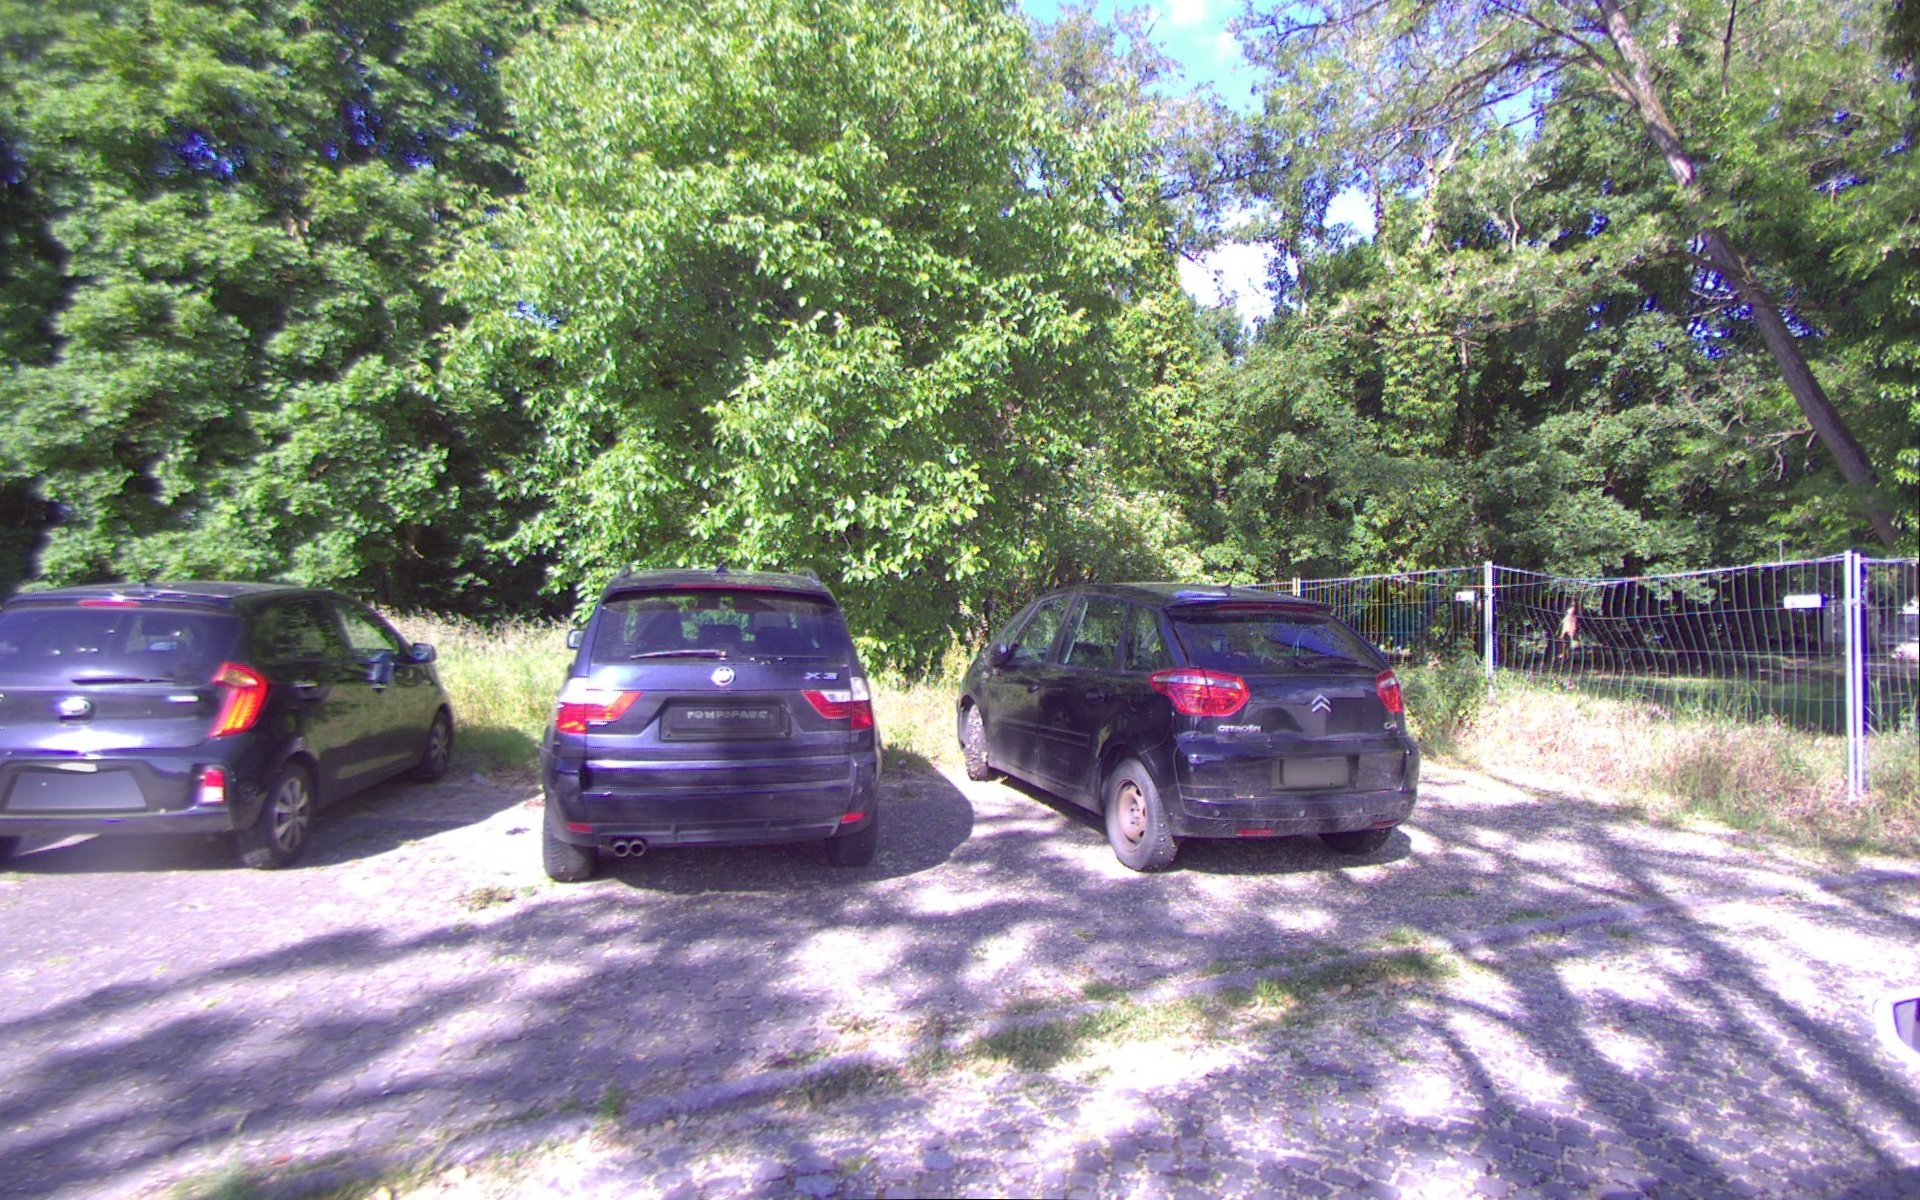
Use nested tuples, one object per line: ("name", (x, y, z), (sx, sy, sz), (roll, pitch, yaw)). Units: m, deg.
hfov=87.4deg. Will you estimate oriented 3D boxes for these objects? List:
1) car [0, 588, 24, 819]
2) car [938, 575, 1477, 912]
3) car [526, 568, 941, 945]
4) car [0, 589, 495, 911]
("car", (-6.581, 0.651, 4.545), (1.755, 1.478, 3.779), (2, 0, -13))
("car", (1.348, 0.686, 7.368), (1.801, 1.611, 4.254), (0, 3, -19))
("car", (-1.613, 0.647, 6.700), (1.850, 1.653, 4.257), (1, 1, -17))
("car", (-4.495, 0.692, 6.485), (1.713, 1.470, 3.719), (2, 0, -9))
